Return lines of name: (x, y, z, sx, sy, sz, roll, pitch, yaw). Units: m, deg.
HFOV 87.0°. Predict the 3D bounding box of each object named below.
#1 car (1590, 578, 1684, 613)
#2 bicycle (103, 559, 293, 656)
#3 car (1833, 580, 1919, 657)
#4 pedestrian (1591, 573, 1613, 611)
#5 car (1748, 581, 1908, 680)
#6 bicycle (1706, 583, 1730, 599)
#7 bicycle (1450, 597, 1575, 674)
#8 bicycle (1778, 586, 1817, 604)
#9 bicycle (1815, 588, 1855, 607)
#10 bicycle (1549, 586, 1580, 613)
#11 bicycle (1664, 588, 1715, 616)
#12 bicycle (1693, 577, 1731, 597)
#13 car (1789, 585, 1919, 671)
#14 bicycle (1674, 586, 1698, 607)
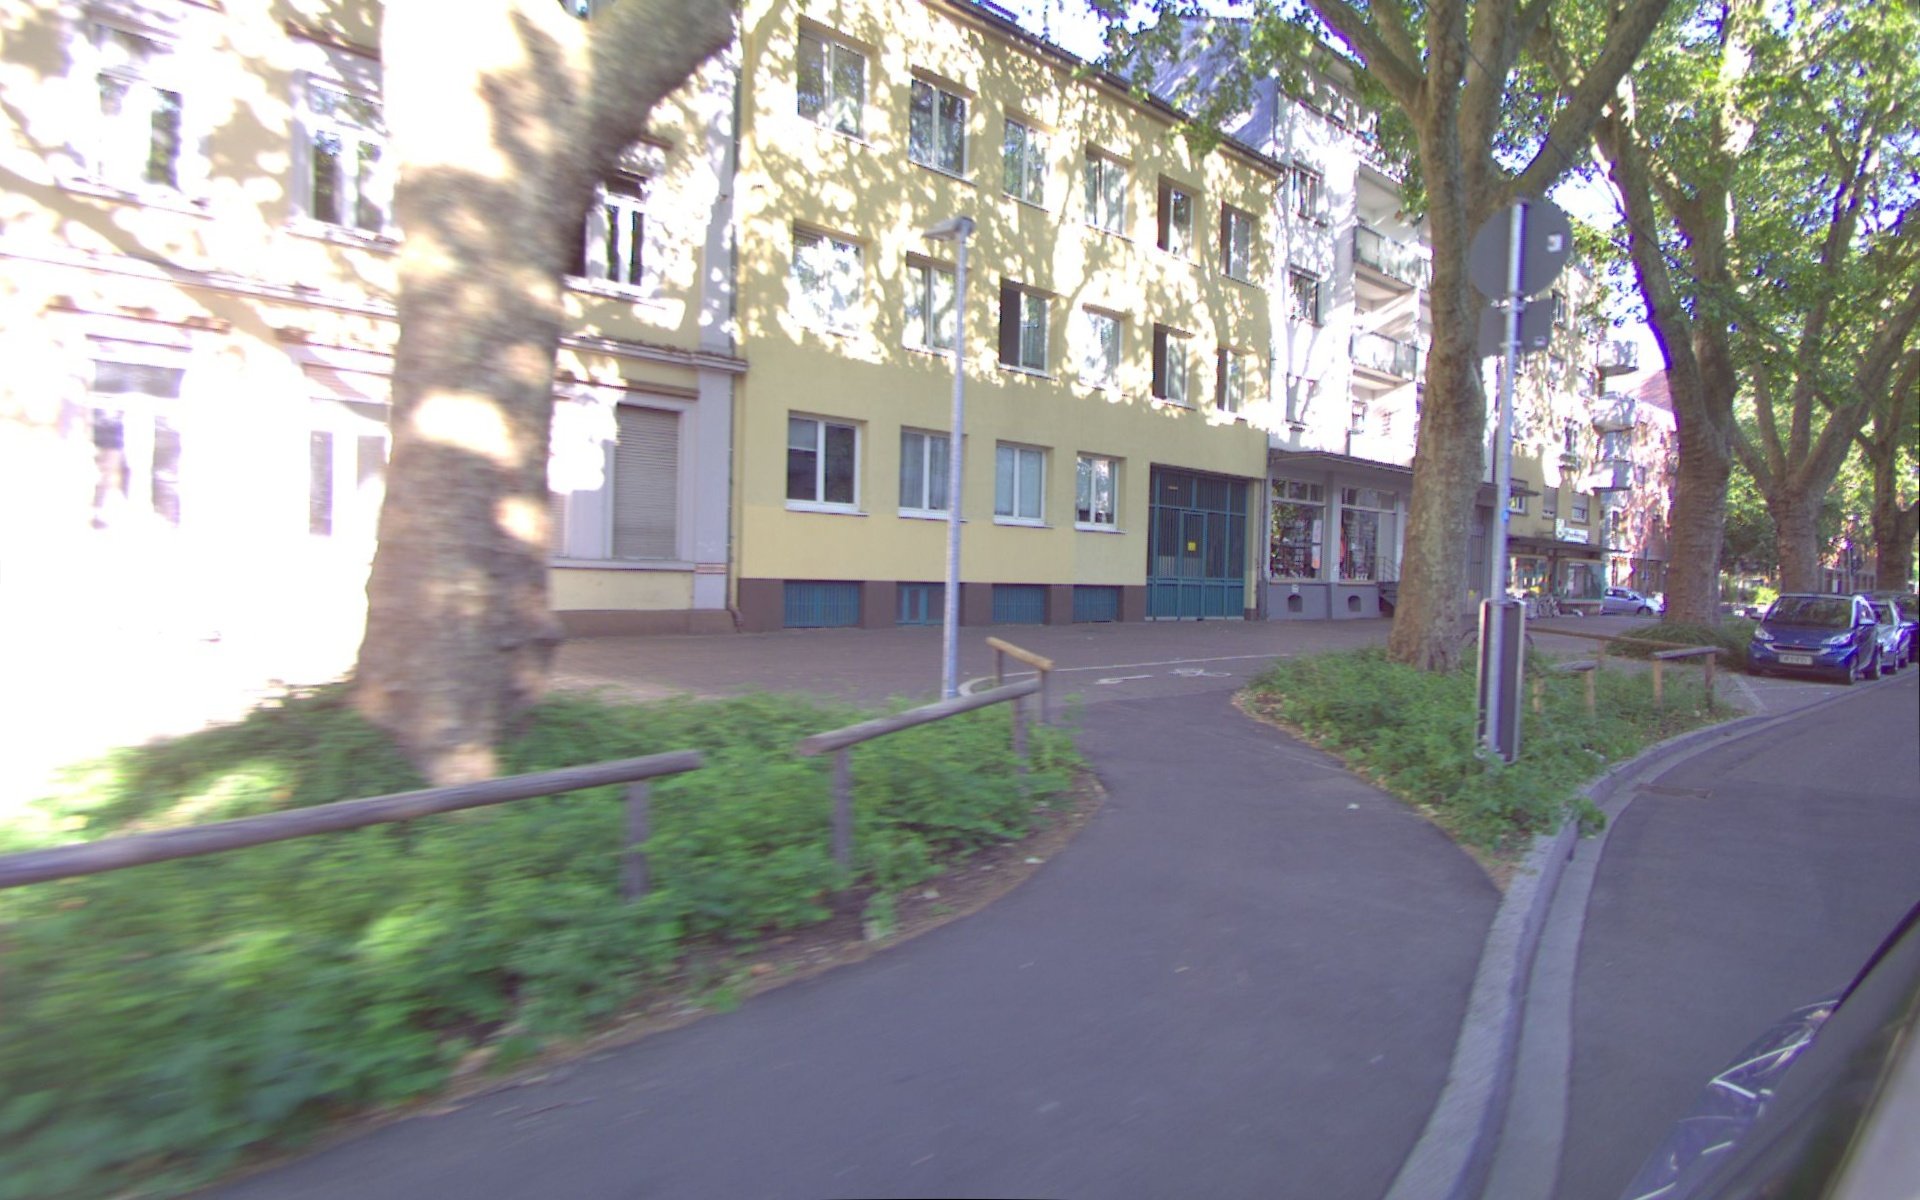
car: (37.181, -0.257, 55.644, 1.833, 1.713, 3.871, 0, 3, -40)
bicycle: (-9.578, 0.074, 12.768, 1.889, 1.117, 0.584, 0, 4, -41)
car: (22.908, 0.377, 24.628, 4.700, 1.622, 1.861, -1, 4, -42)
pedestrian: (30.021, -0.383, 47.345, 0.695, 1.703, 0.656, 2, 2, 23)
car: (15.556, 0.480, 18.114, 2.857, 1.537, 1.568, -1, 4, -38)
bicycle: (58.573, -0.676, 78.195, 1.997, 1.170, 0.709, 1, 3, -31)
bicycle: (8.844, 0.537, 16.313, 0.500, 1.017, 1.975, 2, 4, -14)
bicycle: (60.313, -0.377, 72.891, 0.561, 1.170, 2.039, 0, 4, -34)
bicycle: (61.092, -0.196, 70.675, 0.562, 1.170, 2.037, 0, 4, -39)
bicycle: (24.009, -0.030, 40.179, 1.751, 1.009, 0.571, -1, 4, -45)
bicycle: (34.121, 0.084, 47.332, 1.781, 1.170, 0.738, 4, 3, 29)
bicycle: (48.867, -0.868, 65.777, 0.560, 1.170, 1.939, 1, 3, -24)
car: (18.813, 0.487, 21.062, 4.527, 1.453, 1.819, -2, 4, -44)
bicycle: (41.515, -0.195, 57.874, 1.666, 1.170, 0.602, 0, 4, -37)
